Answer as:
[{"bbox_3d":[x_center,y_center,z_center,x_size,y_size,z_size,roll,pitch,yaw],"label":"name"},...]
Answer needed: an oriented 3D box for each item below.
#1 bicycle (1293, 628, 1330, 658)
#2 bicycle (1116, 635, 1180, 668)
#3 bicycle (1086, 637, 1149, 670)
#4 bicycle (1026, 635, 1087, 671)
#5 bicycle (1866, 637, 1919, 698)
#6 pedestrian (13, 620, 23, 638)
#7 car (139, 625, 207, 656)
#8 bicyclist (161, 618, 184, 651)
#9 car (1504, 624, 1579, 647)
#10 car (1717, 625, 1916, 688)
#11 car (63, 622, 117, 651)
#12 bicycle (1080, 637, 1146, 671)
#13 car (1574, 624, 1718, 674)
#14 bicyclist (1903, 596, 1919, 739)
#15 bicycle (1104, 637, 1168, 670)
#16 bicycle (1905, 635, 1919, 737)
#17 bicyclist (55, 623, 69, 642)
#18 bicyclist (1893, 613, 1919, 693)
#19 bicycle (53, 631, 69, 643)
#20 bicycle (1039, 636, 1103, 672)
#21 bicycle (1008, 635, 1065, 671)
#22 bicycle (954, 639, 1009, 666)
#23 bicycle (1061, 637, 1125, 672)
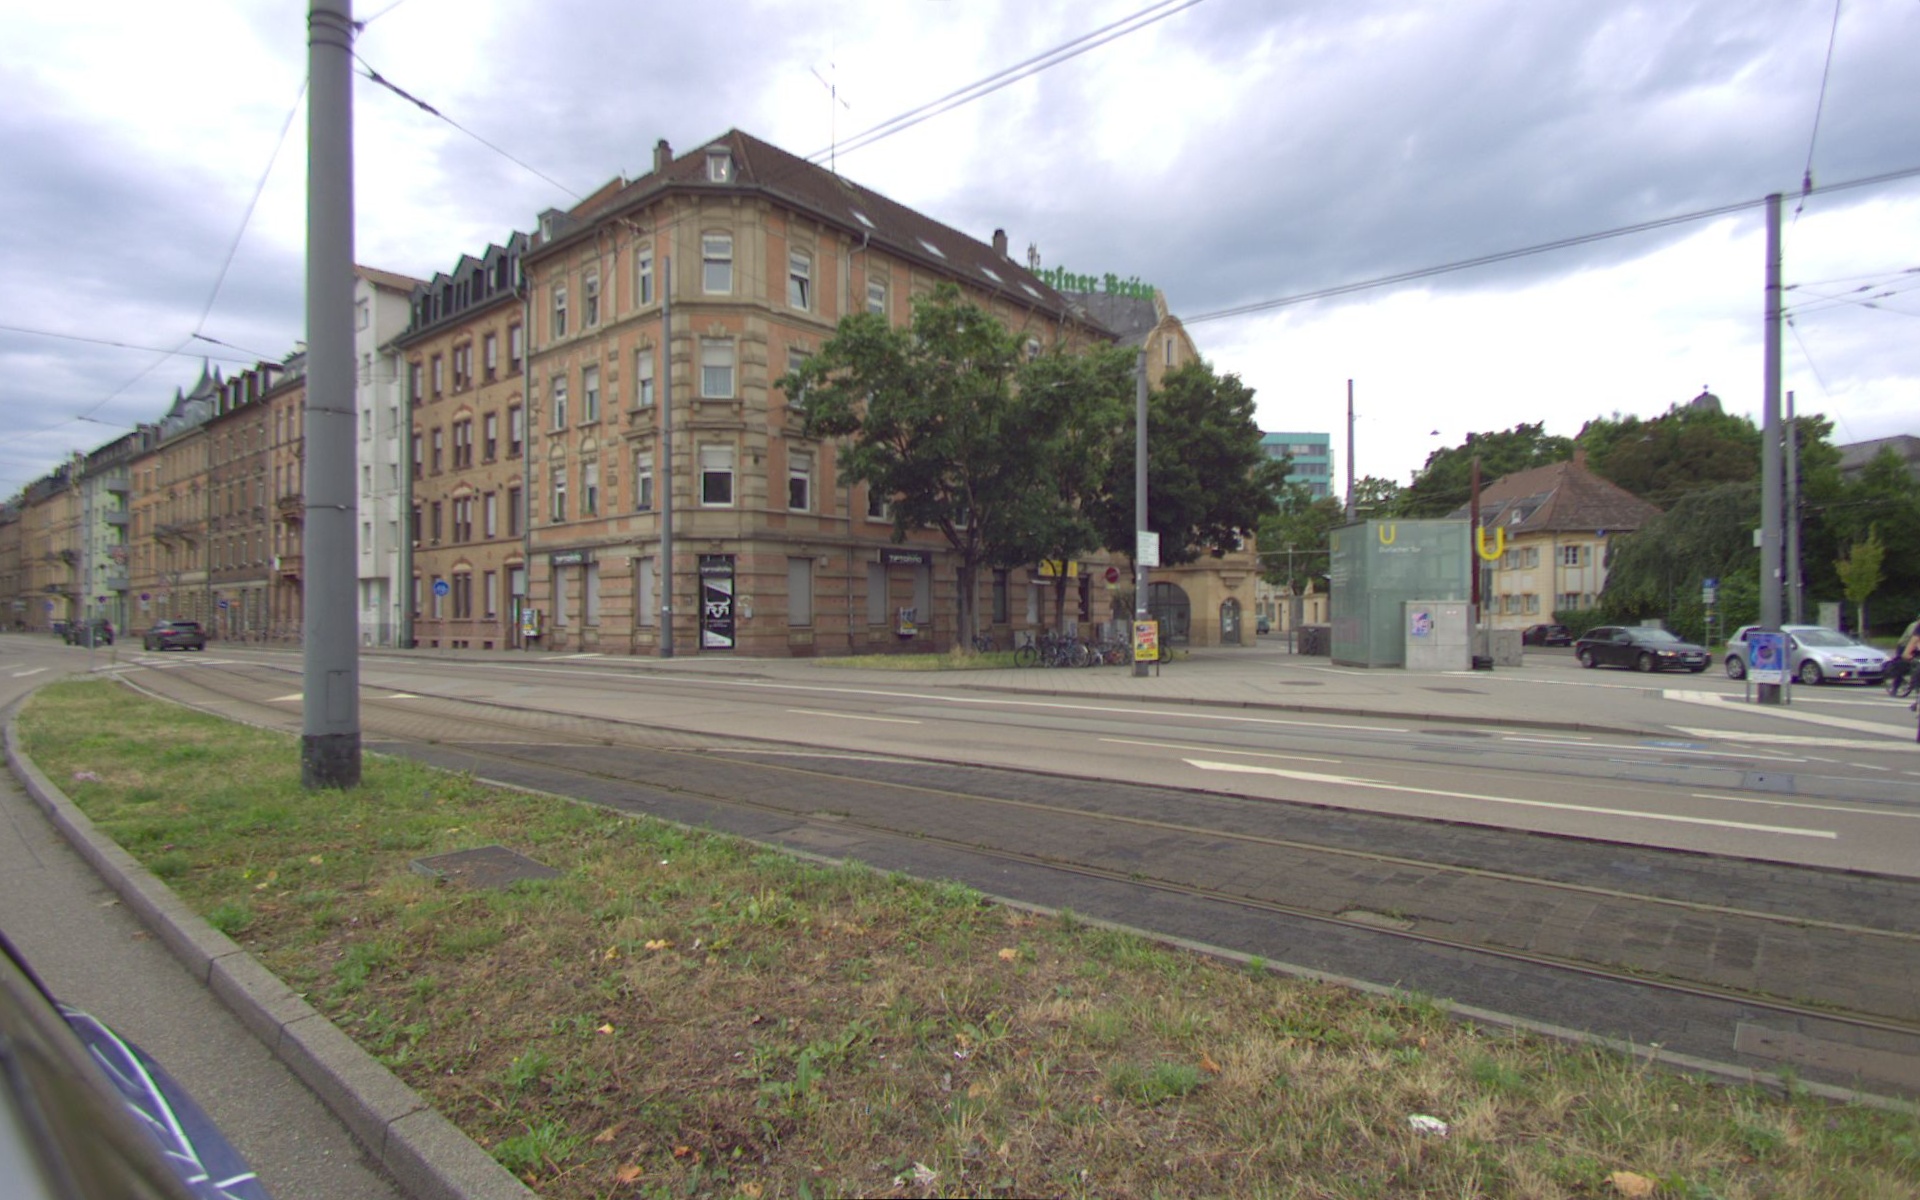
[{"bbox_3d":[13.930,1.705,40.127,0.730,1.123,2.361,-1,-1,3],"label":"bicycle"},{"bbox_3d":[6.355,1.730,34.284,0.678,1.047,2.224,0,-1,-39],"label":"bicycle"},{"bbox_3d":[5.031,1.690,32.497,0.492,0.994,2.224,0,-1,-39],"label":"bicycle"},{"bbox_3d":[2.860,1.562,30.183,0.513,0.994,2.041,0,-1,-39],"label":"bicycle"},{"bbox_3d":[19.957,1.383,20.714,0.845,1.217,2.197,0,-1,1],"label":"bicycle"},{"bbox_3d":[-109.158,3.327,117.294,0.733,2.029,0.804,-1,-2,41],"label":"pedestrian"},{"bbox_3d":[-38.271,1.939,49.172,4.387,1.406,1.676,-1,-2,39],"label":"car"},{"bbox_3d":[-46.185,2.024,59.336,1.048,1.906,0.821,-2,-3,39],"label":"bicyclist"},{"bbox_3d":[35.608,2.158,62.090,1.904,1.298,4.006,0,-1,-7],"label":"car"},{"bbox_3d":[21.895,1.387,26.135,1.739,1.465,4.156,-1,-1,4],"label":"car"},{"bbox_3d":[-52.975,2.202,61.587,4.225,1.652,1.780,-1,-1,39],"label":"car"},{"bbox_3d":[4.798,1.691,31.838,0.601,0.994,2.224,0,-1,-39],"label":"bicycle"},{"bbox_3d":[21.794,1.524,32.381,1.673,1.460,4.144,-1,-1,-1],"label":"car"},{"bbox_3d":[12.778,0.856,13.052,0.816,1.812,1.015,-3,-3,43],"label":"bicyclist"},{"bbox_3d":[5.755,1.731,33.160,0.576,0.994,2.224,0,-1,-39],"label":"bicycle"},{"bbox_3d":[12.728,1.086,12.993,0.816,1.252,1.971,-3,-4,43],"label":"bicycle"},{"bbox_3d":[-70.572,2.566,79.503,0.941,1.506,0.655,-1,-1,37],"label":"bicyclist"},{"bbox_3d":[19.961,1.085,20.716,0.843,1.635,0.917,0,-2,1],"label":"bicyclist"},{"bbox_3d":[-70.620,2.893,79.521,1.716,0.922,0.600,-1,-1,37],"label":"bicycle"},{"bbox_3d":[3.313,1.604,30.509,0.472,1.014,2.224,0,-1,-39],"label":"bicycle"},{"bbox_3d":[2.245,1.545,29.756,0.492,0.994,1.872,1,-2,-41],"label":"bicycle"},{"bbox_3d":[0.807,1.971,38.001,1.982,0.921,0.655,-4,-5,31],"label":"bicycle"},{"bbox_3d":[4.030,1.638,30.841,0.492,0.994,2.224,0,-1,-39],"label":"bicycle"}]
